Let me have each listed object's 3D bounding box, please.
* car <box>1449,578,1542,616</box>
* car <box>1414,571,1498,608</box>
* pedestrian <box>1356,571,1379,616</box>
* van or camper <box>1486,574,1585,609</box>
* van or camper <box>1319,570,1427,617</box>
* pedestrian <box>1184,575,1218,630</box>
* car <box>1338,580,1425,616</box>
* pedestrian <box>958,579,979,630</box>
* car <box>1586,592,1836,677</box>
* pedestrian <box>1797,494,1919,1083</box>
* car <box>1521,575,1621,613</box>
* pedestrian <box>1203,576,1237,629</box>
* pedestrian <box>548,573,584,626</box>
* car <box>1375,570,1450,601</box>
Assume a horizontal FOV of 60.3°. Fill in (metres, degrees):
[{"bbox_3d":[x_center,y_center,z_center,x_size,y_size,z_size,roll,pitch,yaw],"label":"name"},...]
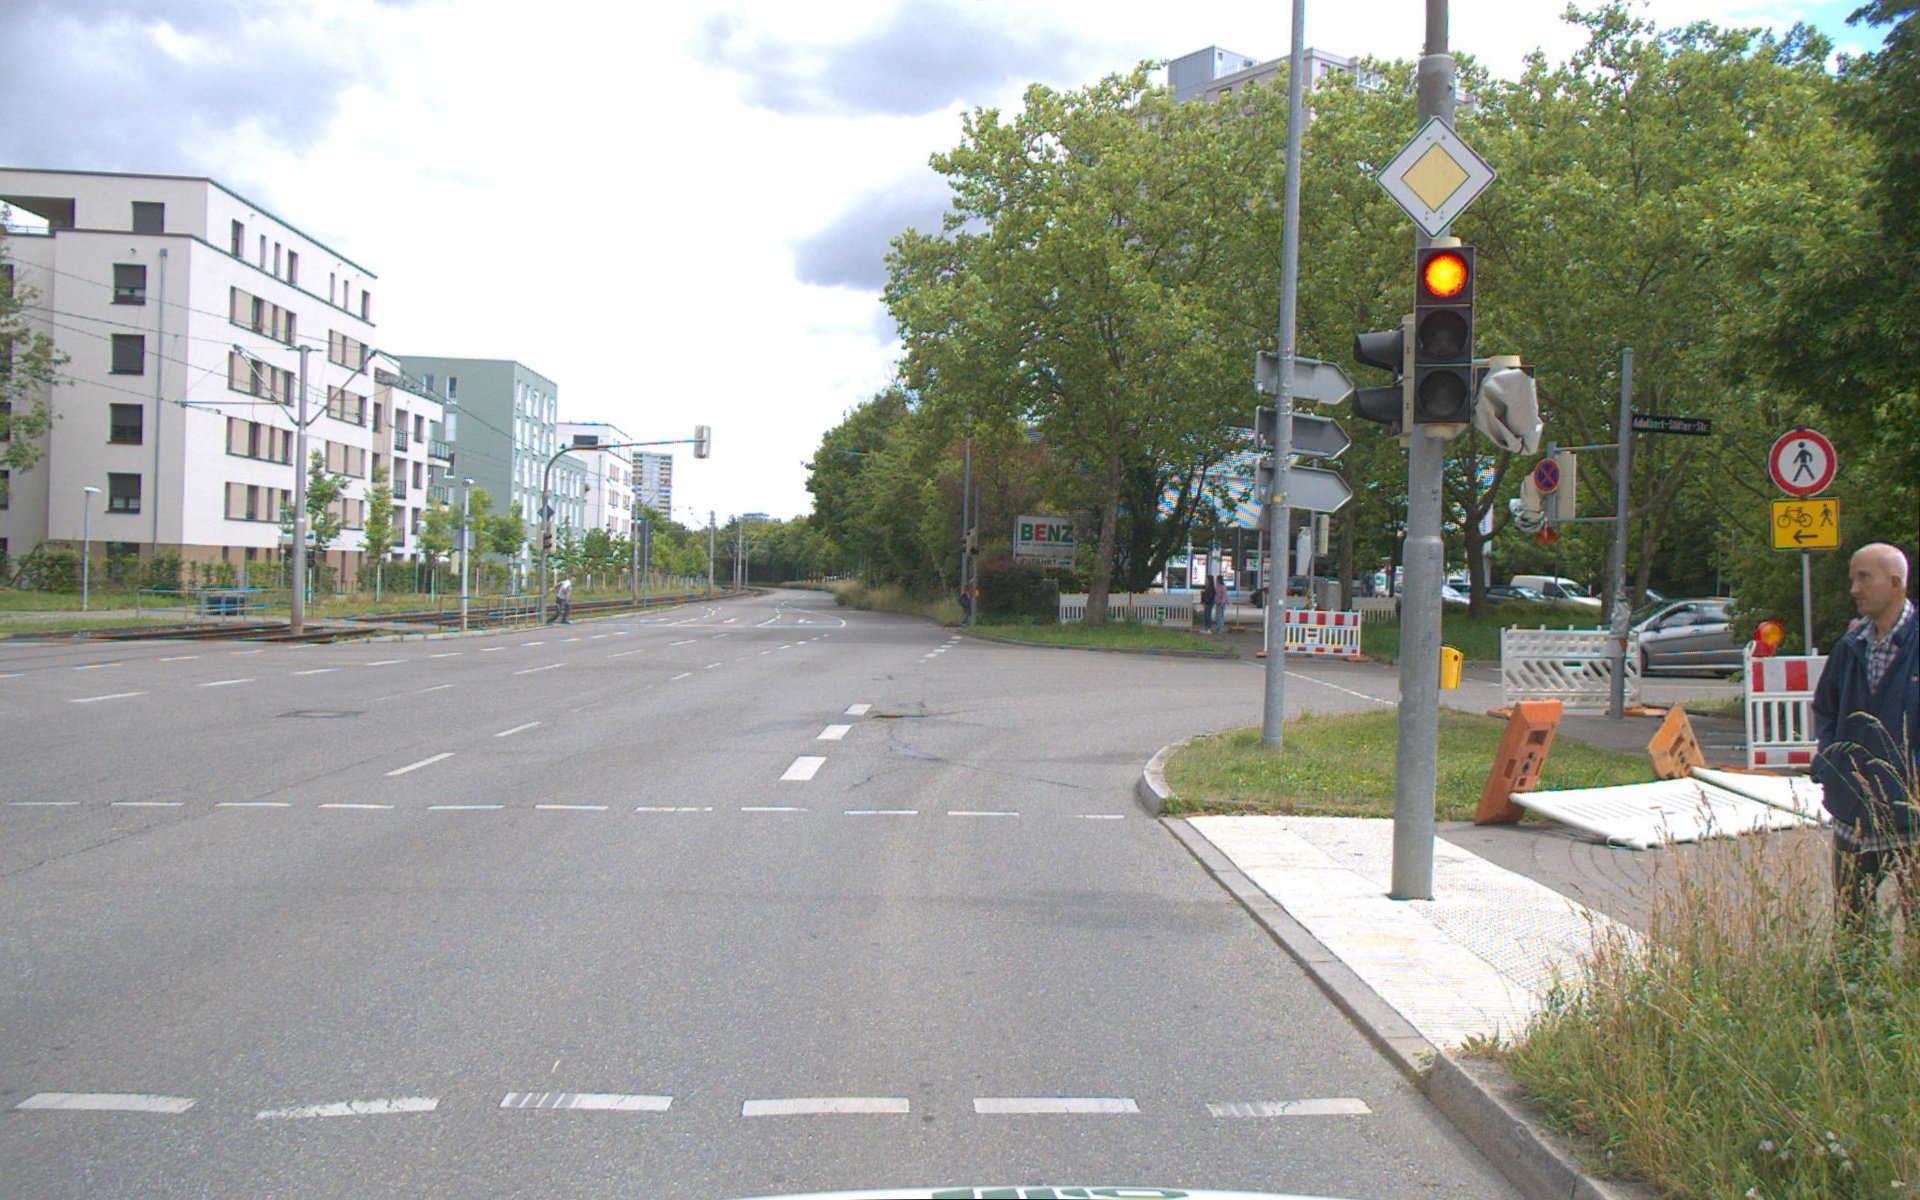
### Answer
[{"bbox_3d":[21.098,-0.123,65.255,1.464,1.429,3.375,1,0,-30],"label":"car"},{"bbox_3d":[24.055,-0.503,80.253,1.650,1.663,3.783,1,1,-31],"label":"car"},{"bbox_3d":[18.599,-0.279,75.499,0.789,2.037,0.852,1,-1,-5],"label":"pedestrian"},{"bbox_3d":[23.596,-0.343,67.886,1.499,1.380,3.732,1,0,-33],"label":"van or camper"},{"bbox_3d":[15.492,-0.260,62.235,1.819,1.713,3.964,0,1,-28],"label":"van or camper"},{"bbox_3d":[6.852,0.070,46.982,0.707,1.515,0.695,1,-1,-21],"label":"pedestrian"},{"bbox_3d":[17.990,-0.087,70.614,3.345,1.471,1.477,1,0,-19],"label":"car"},{"bbox_3d":[0.266,0.136,51.946,0.640,1.565,0.772,1,-1,-1],"label":"pedestrian"},{"bbox_3d":[15.304,0.693,33.861,4.307,1.614,1.772,1,0,0],"label":"car"},{"bbox_3d":[3.149,0.567,5.383,0.712,1.770,0.954,1,0,28],"label":"pedestrian"},{"bbox_3d":[25.543,-0.253,69.252,1.465,1.491,3.851,1,0,-31],"label":"car"},{"bbox_3d":[7.458,0.078,47.488,0.677,1.515,0.694,1,-1,-24],"label":"pedestrian"},{"bbox_3d":[-12.019,-0.016,50.422,0.830,1.614,0.796,1,-1,4],"label":"pedestrian"},{"bbox_3d":[21.470,-0.691,78.555,1.465,1.429,3.372,1,0,-31],"label":"car"}]
